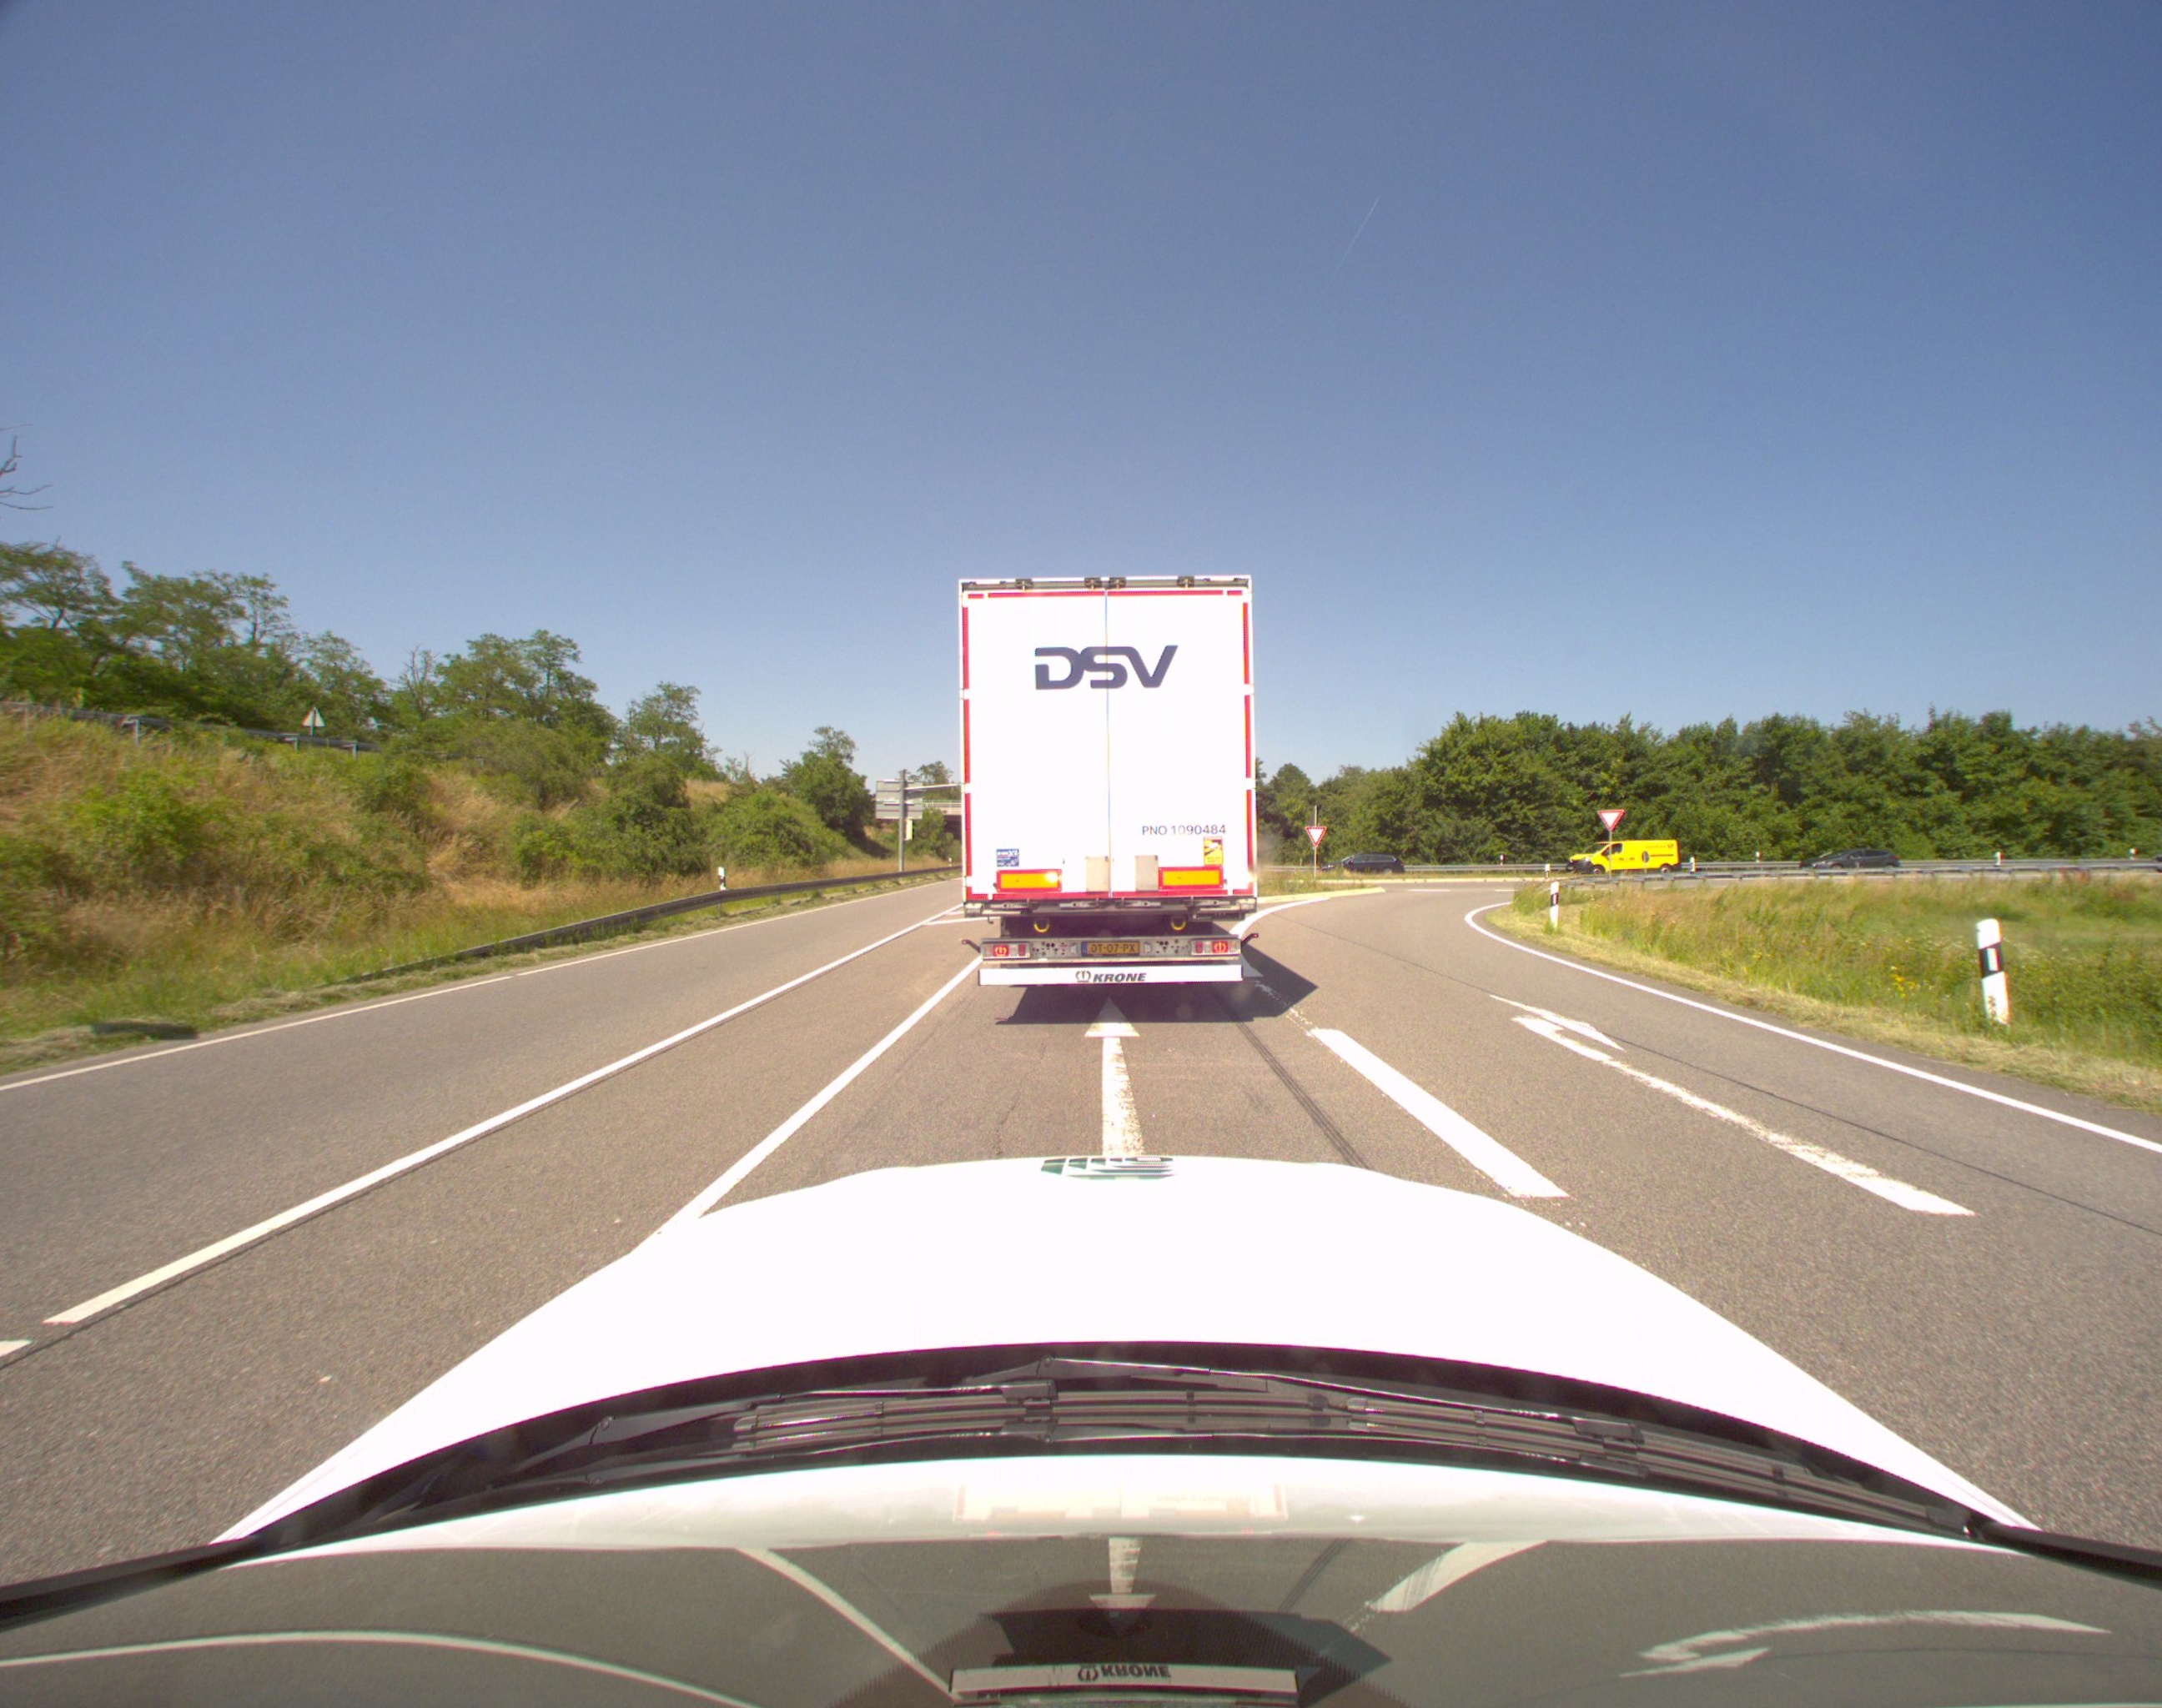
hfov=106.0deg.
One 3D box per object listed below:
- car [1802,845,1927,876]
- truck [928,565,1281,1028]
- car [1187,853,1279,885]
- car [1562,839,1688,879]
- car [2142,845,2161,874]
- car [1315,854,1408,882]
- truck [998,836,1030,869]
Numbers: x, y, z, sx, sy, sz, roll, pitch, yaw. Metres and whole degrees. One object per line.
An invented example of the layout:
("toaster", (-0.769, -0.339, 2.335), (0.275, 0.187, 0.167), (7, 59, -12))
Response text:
("car", (41.171, 0.335, 42.898), (4.662, 1.514, 1.855), (-1, -1, 3))
("truck", (0.306, -0.475, 11.922), (2.977, 3.942, 9.877), (-1, 0, 1))
("car", (8.023, 0.776, 43.170), (4.491, 1.598, 1.760), (-1, -1, -13))
("car", (28.789, 0.294, 43.248), (5.302, 2.014, 2.001), (-1, -1, 2))
("car", (59.601, 0.254, 43.090), (4.669, 1.514, 1.852), (-1, -1, -2))
("car", (15.647, 0.772, 45.612), (4.654, 1.514, 1.858), (-1, -1, 9))
("truck", (-7.310, -0.118, 89.995), (2.634, 3.538, 7.893), (-1, -1, 2))
